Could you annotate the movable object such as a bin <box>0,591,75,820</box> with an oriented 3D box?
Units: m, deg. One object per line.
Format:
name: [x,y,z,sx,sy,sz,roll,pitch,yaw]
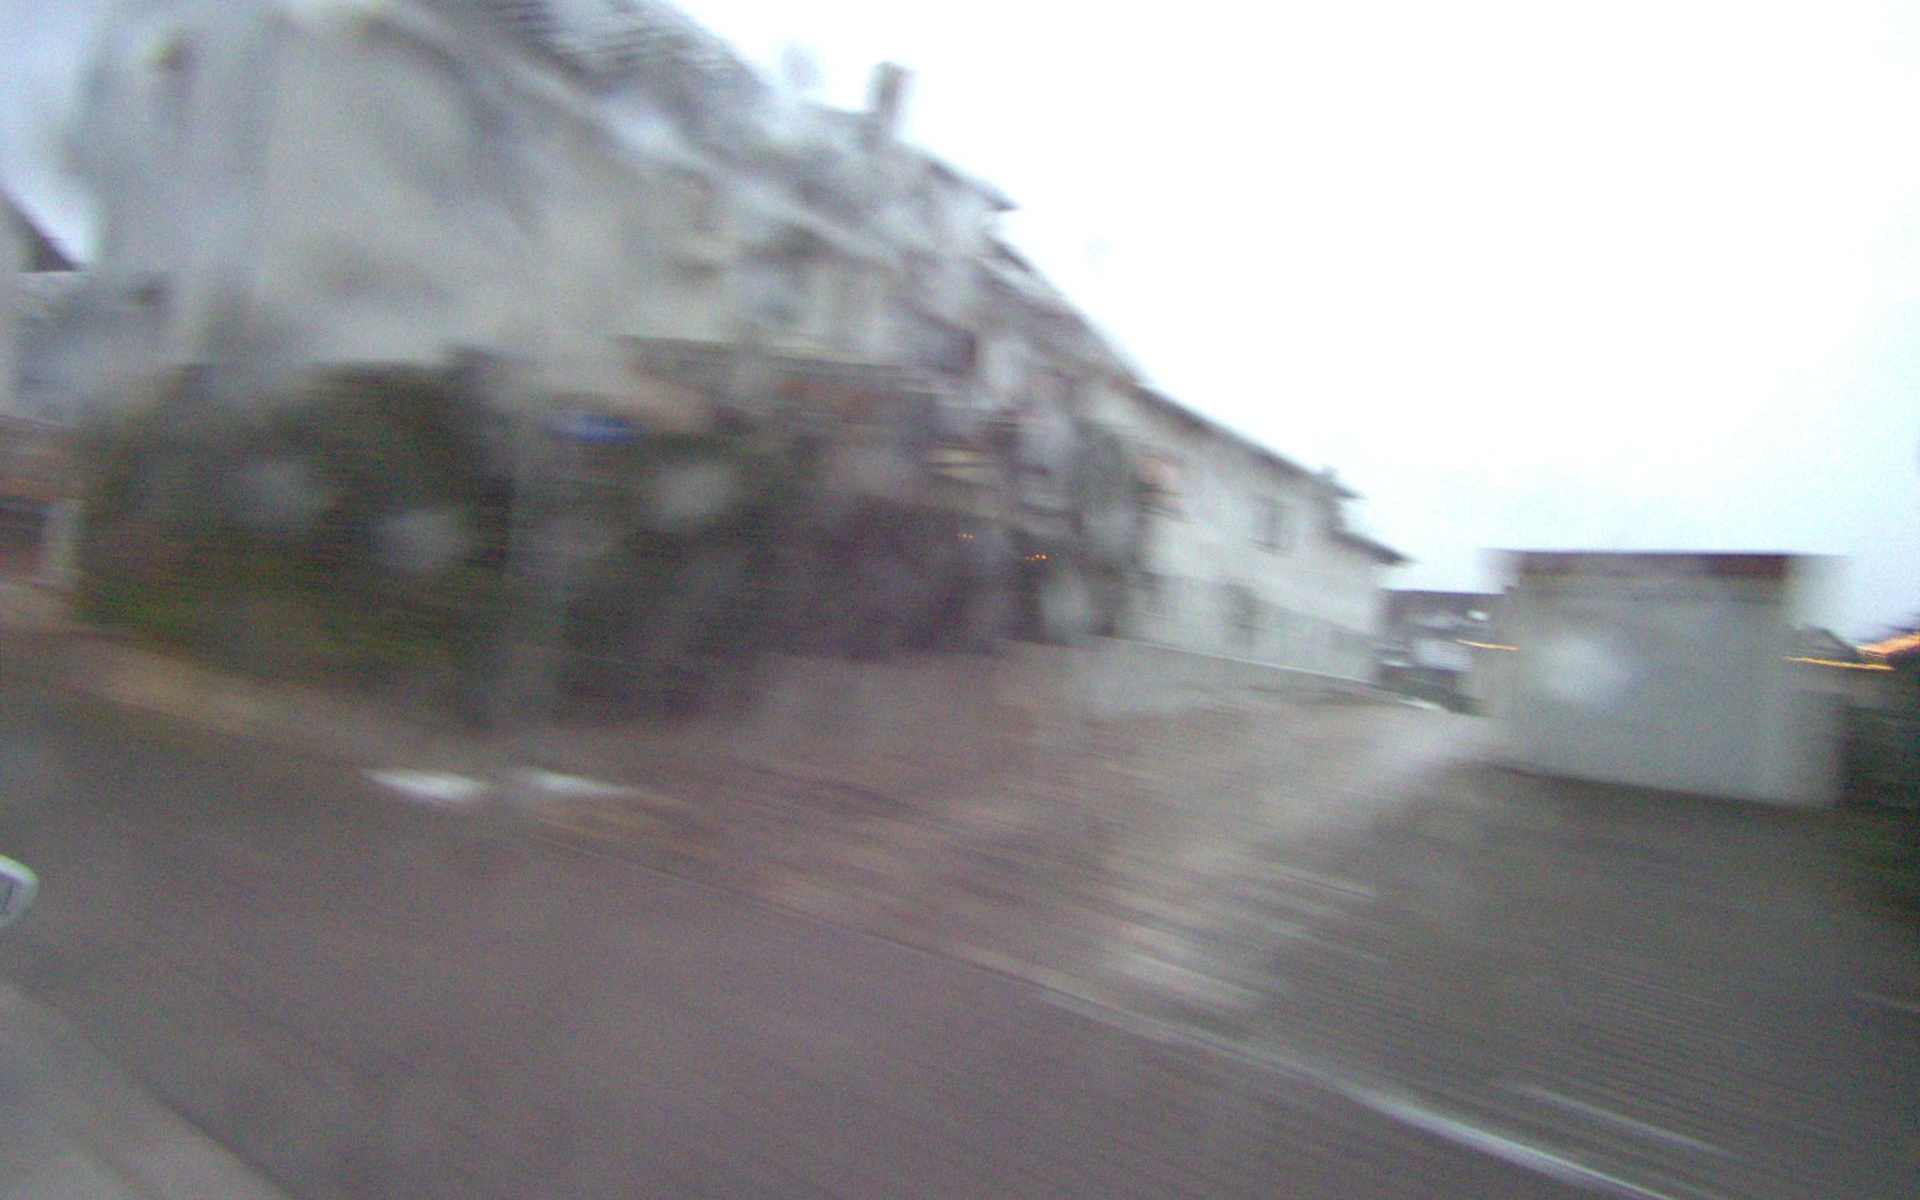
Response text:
movable object such as a bin: [-4.473,0.440,4.433,0.677,0.949,0.539,7,-1,25]

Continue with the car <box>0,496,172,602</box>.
car: [-18.017,-1.097,19.273,1.964,1.636,4.002,8,-2,25]
